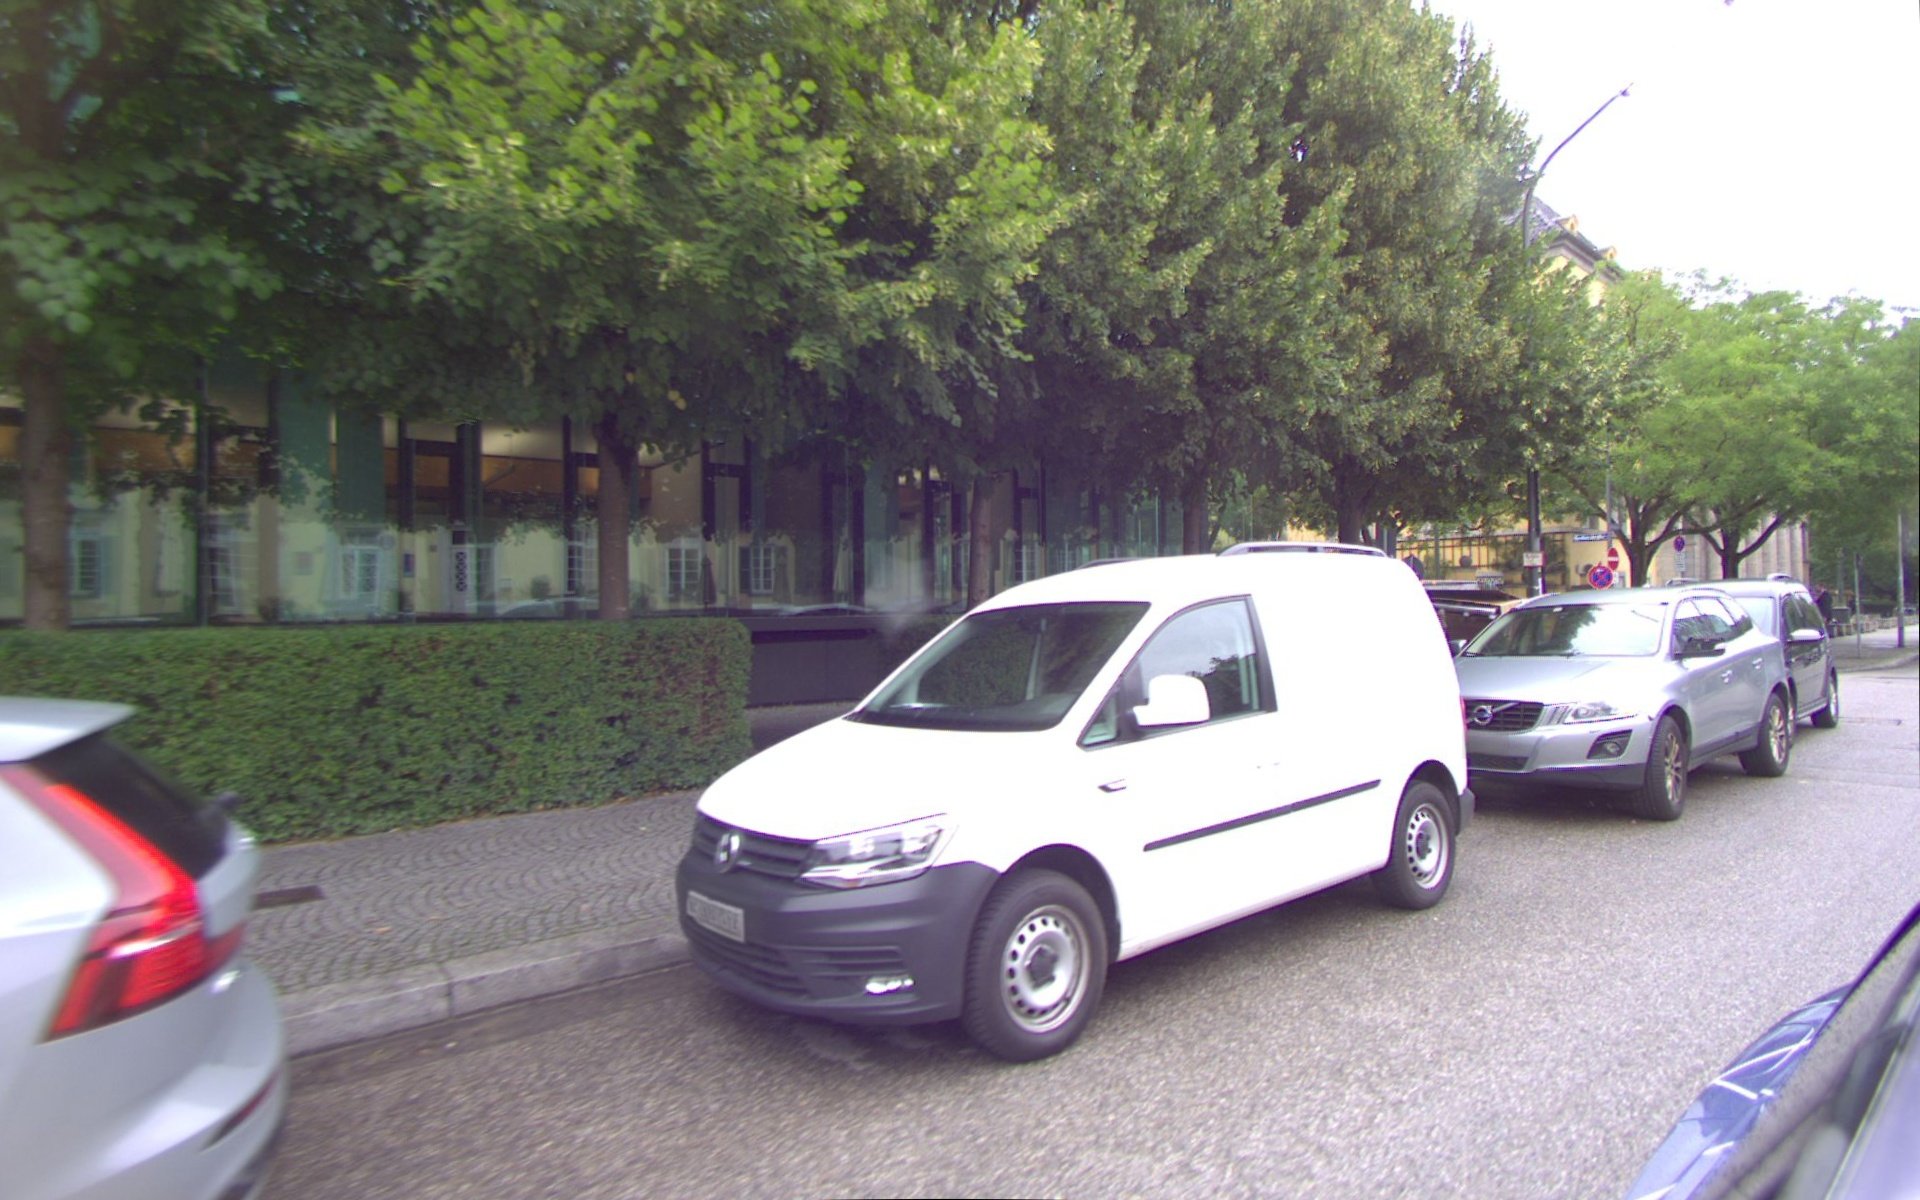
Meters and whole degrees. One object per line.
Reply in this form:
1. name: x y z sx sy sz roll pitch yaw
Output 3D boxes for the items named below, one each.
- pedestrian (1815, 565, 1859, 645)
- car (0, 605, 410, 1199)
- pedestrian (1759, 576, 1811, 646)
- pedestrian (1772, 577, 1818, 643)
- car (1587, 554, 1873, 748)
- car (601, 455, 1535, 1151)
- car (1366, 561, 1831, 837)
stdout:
1. pedestrian: 23.143 0.135 26.731 0.685 2.040 0.884 -3 -2 34
2. car: -3.561 0.855 1.134 4.916 1.572 1.950 -1 -2 -39
3. pedestrian: 22.074 0.296 27.085 0.680 1.808 0.891 -2 -2 14
4. pedestrian: 22.985 0.286 27.874 0.691 1.781 0.681 -2 -2 19
5. car: 8.981 0.488 11.664 4.273 1.831 1.812 -1 -2 -42
6. car: 0.821 0.555 4.908 4.491 1.920 1.788 -1 -2 -38
7. car: 5.534 0.613 8.500 4.699 1.713 1.871 -1 -2 -39
